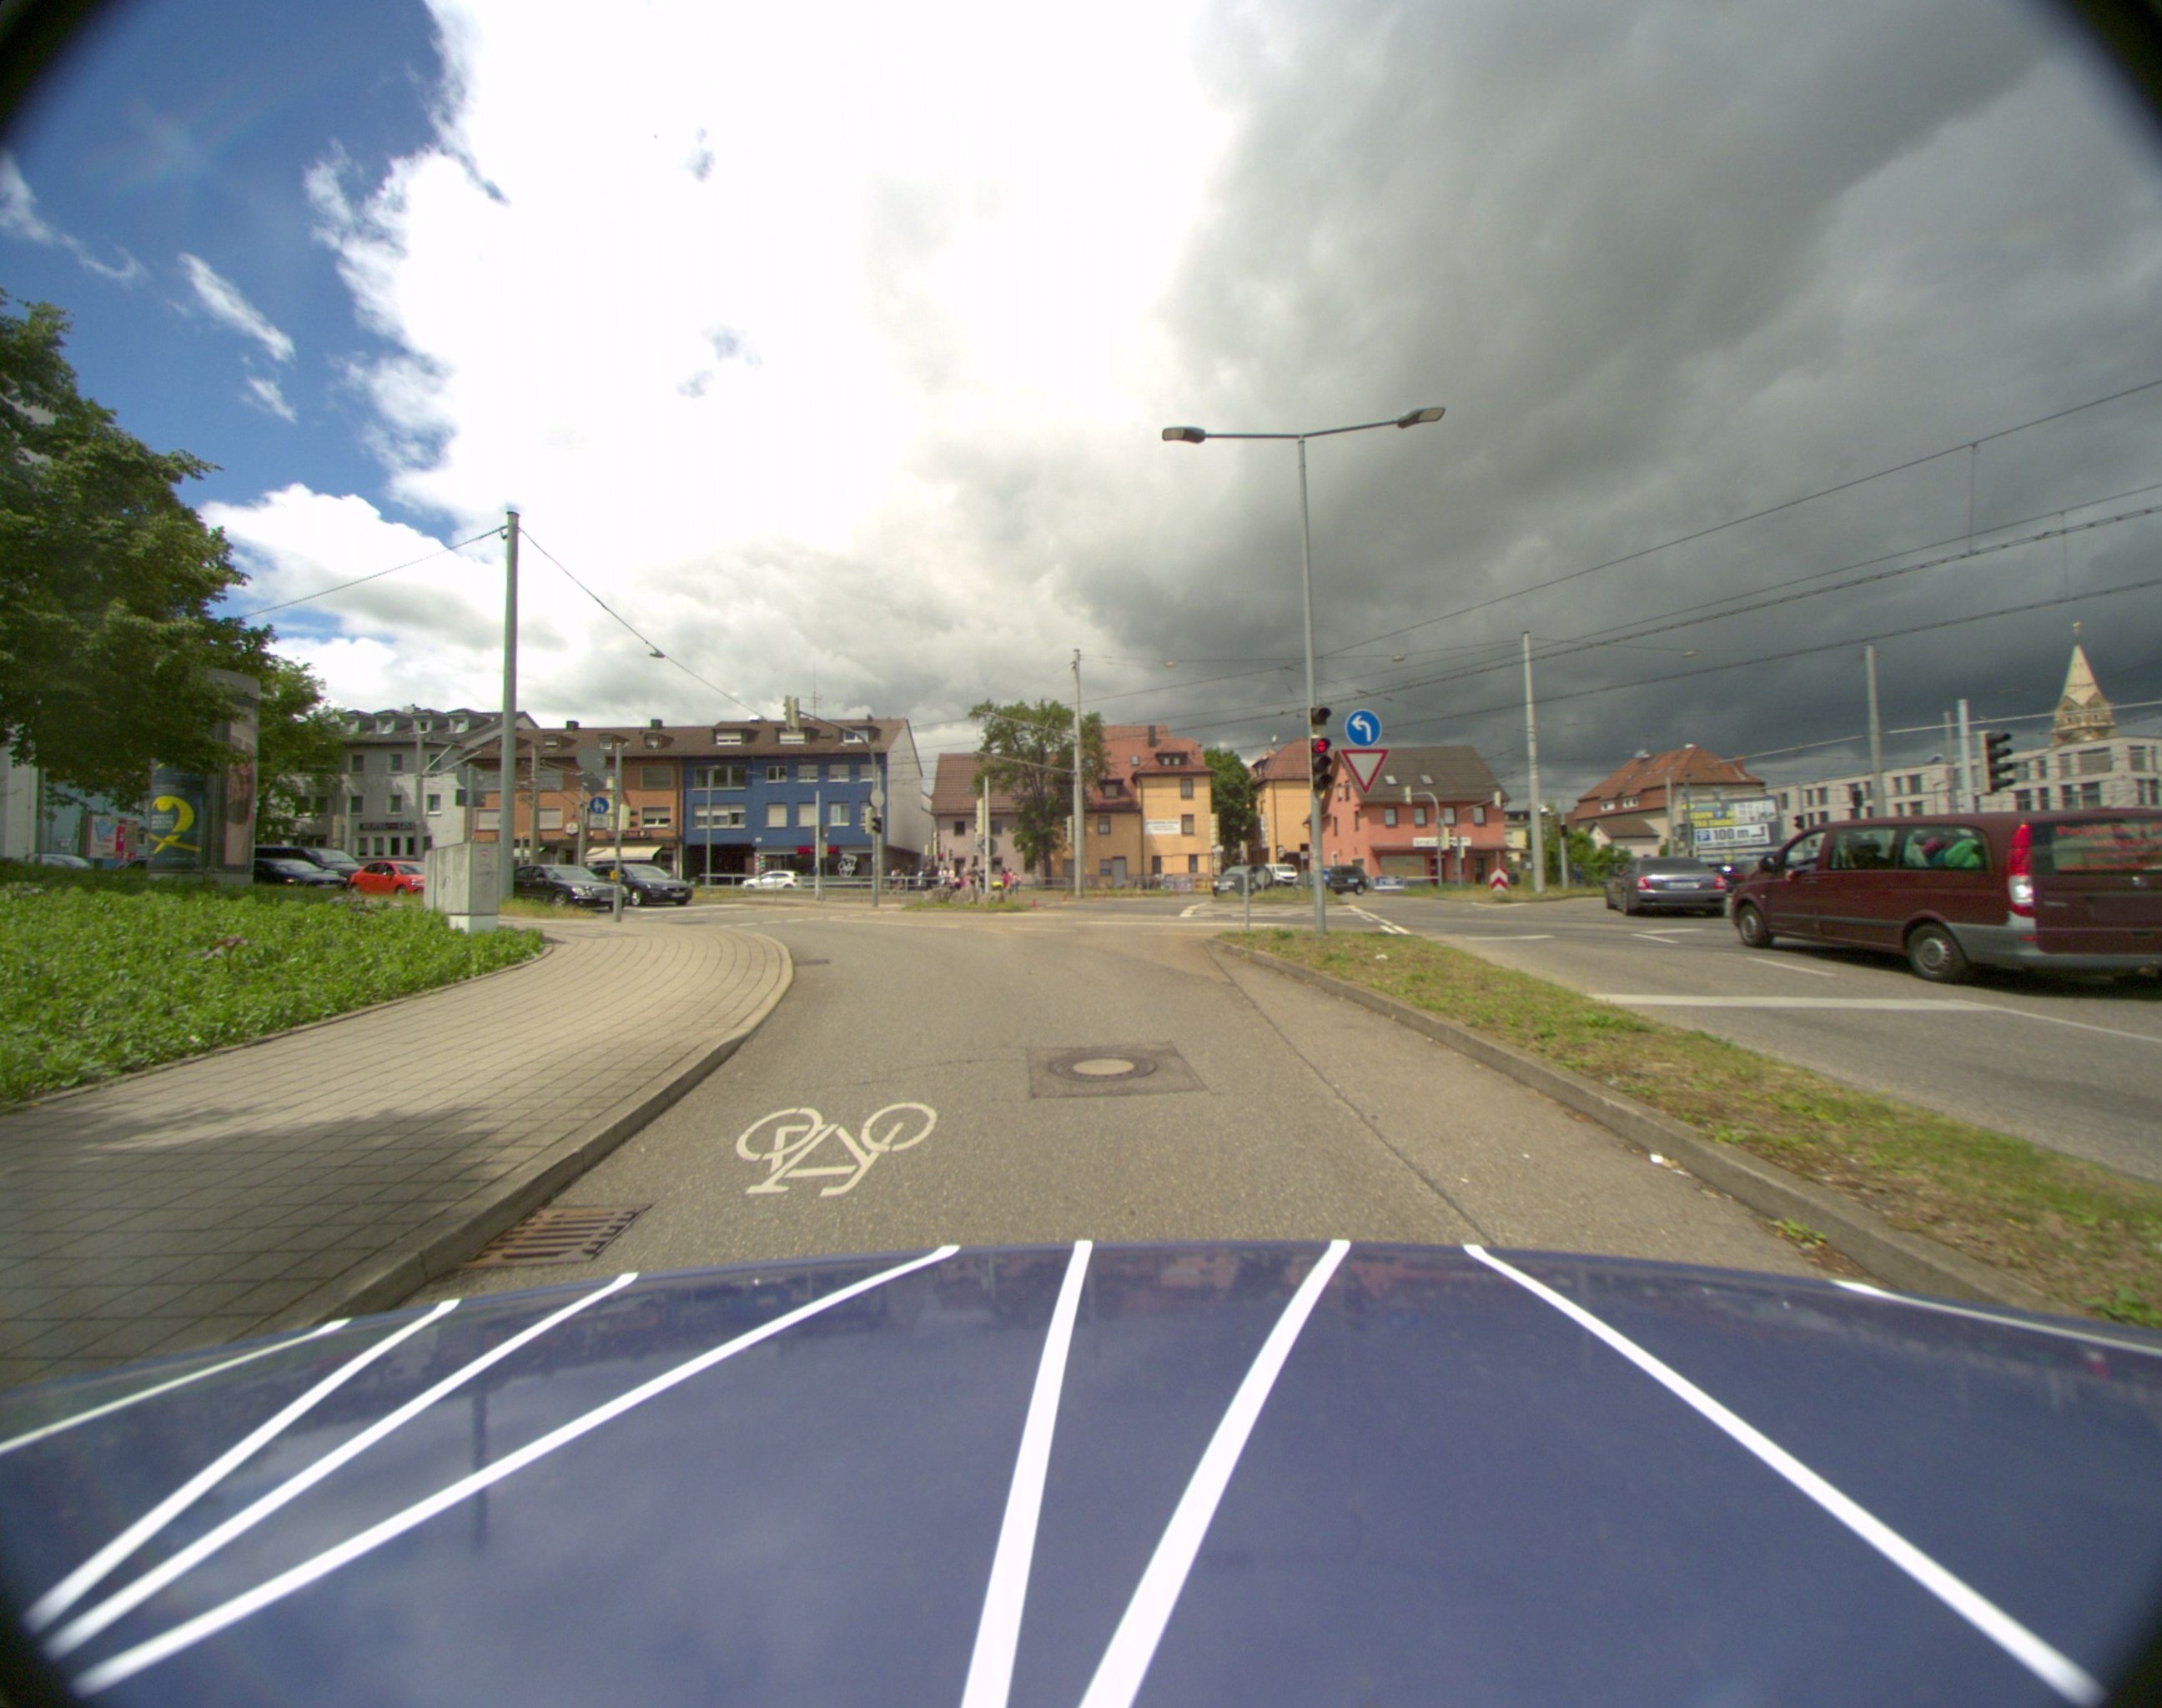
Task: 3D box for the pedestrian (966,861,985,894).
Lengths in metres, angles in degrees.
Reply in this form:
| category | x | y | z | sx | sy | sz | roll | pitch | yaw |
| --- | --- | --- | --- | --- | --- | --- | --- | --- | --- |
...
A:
| category | x | y | z | sx | sy | sz | roll | pitch | yaw |
| --- | --- | --- | --- | --- | --- | --- | --- | --- | --- |
| pedestrian | -5.323 | 1.192 | 38.312 | 0.892 | 1.641 | 0.825 | 0 | -1 | -9 |

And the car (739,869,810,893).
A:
| category | x | y | z | sx | sy | sz | roll | pitch | yaw |
| --- | --- | --- | --- | --- | --- | --- | --- | --- | --- |
| car | -20.179 | 1.810 | 50.112 | 3.997 | 1.522 | 1.713 | 0 | -3 | 0 |

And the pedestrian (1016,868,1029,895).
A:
| category | x | y | z | sx | sy | sz | roll | pitch | yaw |
| --- | --- | --- | --- | --- | --- | --- | --- | --- | --- |
| pedestrian | -3.288 | 1.521 | 42.412 | 0.542 | 1.461 | 0.778 | 0 | -1 | -19 |

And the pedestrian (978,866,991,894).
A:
| category | x | y | z | sx | sy | sz | roll | pitch | yaw |
| --- | --- | --- | --- | --- | --- | --- | --- | --- | --- |
| pedestrian | -5.215 | 1.390 | 41.133 | 0.587 | 1.483 | 0.675 | -1 | 0 | 5 |

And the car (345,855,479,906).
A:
| category | x | y | z | sx | sy | sz | roll | pitch | yaw |
| --- | --- | --- | --- | --- | --- | --- | --- | --- | --- |
| car | -23.520 | 0.946 | 26.726 | 3.991 | 1.632 | 2.004 | -2 | -2 | 23 |

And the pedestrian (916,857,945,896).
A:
| category | x | y | z | sx | sy | sz | roll | pitch | yaw |
| --- | --- | --- | --- | --- | --- | --- | --- | --- | --- |
| pedestrian | -7.205 | 1.065 | 36.416 | 0.824 | 1.830 | 0.970 | 0 | -2 | 32 |

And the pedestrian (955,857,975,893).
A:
| category | x | y | z | sx | sy | sz | roll | pitch | yaw |
| --- | --- | --- | --- | --- | --- | --- | --- | --- | --- |
| pedestrian | -5.724 | 1.041 | 37.344 | 0.694 | 1.739 | 0.750 | 0 | -1 | -38 |

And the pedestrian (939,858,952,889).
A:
| category | x | y | z | sx | sy | sz | roll | pitch | yaw |
| --- | --- | --- | --- | --- | --- | --- | --- | --- | --- |
| pedestrian | -7.485 | 1.077 | 42.027 | 0.675 | 1.739 | 0.587 | 0 | 0 | -5 |

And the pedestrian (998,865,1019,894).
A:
| category | x | y | z | sx | sy | sz | roll | pitch | yaw |
| --- | --- | --- | --- | --- | --- | --- | --- | --- | --- |
| pedestrian | -3.738 | 1.312 | 39.244 | 0.856 | 1.472 | 0.740 | 0 | -1 | -30 |

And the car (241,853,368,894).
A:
| category | x | y | z | sx | sy | sz | roll | pitch | yaw |
| --- | --- | --- | --- | --- | --- | --- | --- | --- | --- |
| car | -29.299 | 0.751 | 28.691 | 3.991 | 1.454 | 1.906 | -1 | -1 | 21 |

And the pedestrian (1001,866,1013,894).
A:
| category | x | y | z | sx | sy | sz | roll | pitch | yaw |
| --- | --- | --- | --- | --- | --- | --- | --- | --- | --- |
| pedestrian | -4.046 | 1.439 | 41.488 | 0.587 | 1.518 | 0.675 | 0 | -1 | -8 |

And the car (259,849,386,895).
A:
| category | x | y | z | sx | sy | sz | roll | pitch | yaw |
| --- | --- | --- | --- | --- | --- | --- | --- | --- | --- |
| car | -32.408 | 0.777 | 32.507 | 4.142 | 1.869 | 1.854 | 0 | -1 | 11 |

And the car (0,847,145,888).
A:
| category | x | y | z | sx | sy | sz | roll | pitch | yaw |
| --- | --- | --- | --- | --- | --- | --- | --- | --- | --- |
| car | -41.112 | 0.555 | 30.942 | 3.994 | 1.609 | 2.002 | 0 | -1 | 8 |

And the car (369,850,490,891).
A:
| category | x | y | z | sx | sy | sz | roll | pitch | yaw |
| --- | --- | --- | --- | --- | --- | --- | --- | --- | --- |
| car | -27.072 | 0.687 | 31.606 | 3.992 | 1.629 | 1.930 | -1 | -1 | 16 |

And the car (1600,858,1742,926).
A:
| category | x | y | z | sx | sy | sz | roll | pitch | yaw |
| --- | --- | --- | --- | --- | --- | --- | --- | --- | --- |
| car | 14.438 | 0.832 | 18.915 | 1.798 | 1.402 | 5.061 | -1 | 0 | 26 |

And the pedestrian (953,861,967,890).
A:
| category | x | y | z | sx | sy | sz | roll | pitch | yaw |
| --- | --- | --- | --- | --- | --- | --- | --- | --- | --- |
| pedestrian | -6.556 | 1.165 | 41.108 | 0.676 | 1.556 | 0.586 | 0 | 0 | -16 |

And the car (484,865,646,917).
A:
| category | x | y | z | sx | sy | sz | roll | pitch | yaw |
| --- | --- | --- | --- | --- | --- | --- | --- | --- | --- |
| car | -15.711 | 1.070 | 23.138 | 4.313 | 1.456 | 2.056 | -1 | -1 | 23 |

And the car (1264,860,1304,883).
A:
| category | x | y | z | sx | sy | sz | roll | pitch | yaw |
| --- | --- | --- | --- | --- | --- | --- | --- | --- | --- |
| car | 17.571 | 1.522 | 65.940 | 2.080 | 1.886 | 4.663 | -2 | -1 | -1 |

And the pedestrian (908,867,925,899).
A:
| category | x | y | z | sx | sy | sz | roll | pitch | yaw |
| --- | --- | --- | --- | --- | --- | --- | --- | --- | --- |
| pedestrian | -9.096 | 1.593 | 41.996 | 0.754 | 1.739 | 0.586 | 0 | -1 | -30 |

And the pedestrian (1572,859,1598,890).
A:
| category | x | y | z | sx | sy | sz | roll | pitch | yaw |
| --- | --- | --- | --- | --- | --- | --- | --- | --- | --- |
| pedestrian | 34.980 | 1.403 | 52.737 | 1.127 | 2.134 | 1.053 | 0 | -1 | 3 |

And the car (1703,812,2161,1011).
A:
| category | x | y | z | sx | sy | sz | roll | pitch | yaw |
| --- | --- | --- | --- | --- | --- | --- | --- | --- | --- |
| car | 10.357 | 0.524 | 9.388 | 1.997 | 1.811 | 5.077 | -2 | 0 | 12 |

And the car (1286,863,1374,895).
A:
| category | x | y | z | sx | sy | sz | roll | pitch | yaw |
| --- | --- | --- | --- | --- | --- | --- | --- | --- | --- |
| car | 13.562 | 1.378 | 41.371 | 4.427 | 1.639 | 1.996 | 0 | -3 | -29 |

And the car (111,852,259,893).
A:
| category | x | y | z | sx | sy | sz | roll | pitch | yaw |
| --- | --- | --- | --- | --- | --- | --- | --- | --- | --- |
| car | -35.784 | 0.741 | 30.406 | 3.994 | 1.574 | 2.001 | 0 | -1 | 8 |

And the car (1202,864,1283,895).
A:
| category | x | y | z | sx | sy | sz | roll | pitch | yaw |
| --- | --- | --- | --- | --- | --- | --- | --- | --- | --- |
| car | 7.900 | 1.260 | 36.970 | 4.009 | 1.419 | 1.879 | 1 | -4 | -43 |

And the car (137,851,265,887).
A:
| category | x | y | z | sx | sy | sz | roll | pitch | yaw |
| --- | --- | --- | --- | --- | --- | --- | --- | --- | --- |
| car | -39.293 | 0.695 | 33.960 | 3.993 | 1.545 | 2.018 | 0 | -1 | 11 |

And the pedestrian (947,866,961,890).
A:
| category | x | y | z | sx | sy | sz | roll | pitch | yaw |
| --- | --- | --- | --- | --- | --- | --- | --- | --- | --- |
| pedestrian | -7.238 | 1.361 | 43.340 | 0.675 | 1.367 | 0.635 | 0 | -1 | 2 |

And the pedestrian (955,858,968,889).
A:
| category | x | y | z | sx | sy | sz | roll | pitch | yaw |
| --- | --- | --- | --- | --- | --- | --- | --- | --- | --- |
| pedestrian | -6.704 | 1.097 | 42.678 | 0.675 | 1.739 | 0.587 | 0 | 0 | -5 |

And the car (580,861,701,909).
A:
| category | x | y | z | sx | sy | sz | roll | pitch | yaw |
| --- | --- | --- | --- | --- | --- | --- | --- | --- | --- |
| car | -15.343 | 1.031 | 26.447 | 4.082 | 1.429 | 1.743 | 1 | 1 | 28 |

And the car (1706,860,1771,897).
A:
| category | x | y | z | sx | sy | sz | roll | pitch | yaw |
| --- | --- | --- | --- | --- | --- | --- | --- | --- | --- |
| car | 30.435 | 1.095 | 35.116 | 4.306 | 1.571 | 1.806 | 0 | 0 | -43 |

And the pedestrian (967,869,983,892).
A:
| category | x | y | z | sx | sy | sz | roll | pitch | yaw |
| --- | --- | --- | --- | --- | --- | --- | --- | --- | --- |
| pedestrian | -5.458 | 1.378 | 39.164 | 0.676 | 1.160 | 0.586 | 0 | -1 | -30 |

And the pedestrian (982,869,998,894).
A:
| category | x | y | z | sx | sy | sz | roll | pitch | yaw |
| --- | --- | --- | --- | --- | --- | --- | --- | --- | --- |
| pedestrian | -5.238 | 1.567 | 43.665 | 0.677 | 1.391 | 0.586 | 1 | -1 | -45 |
